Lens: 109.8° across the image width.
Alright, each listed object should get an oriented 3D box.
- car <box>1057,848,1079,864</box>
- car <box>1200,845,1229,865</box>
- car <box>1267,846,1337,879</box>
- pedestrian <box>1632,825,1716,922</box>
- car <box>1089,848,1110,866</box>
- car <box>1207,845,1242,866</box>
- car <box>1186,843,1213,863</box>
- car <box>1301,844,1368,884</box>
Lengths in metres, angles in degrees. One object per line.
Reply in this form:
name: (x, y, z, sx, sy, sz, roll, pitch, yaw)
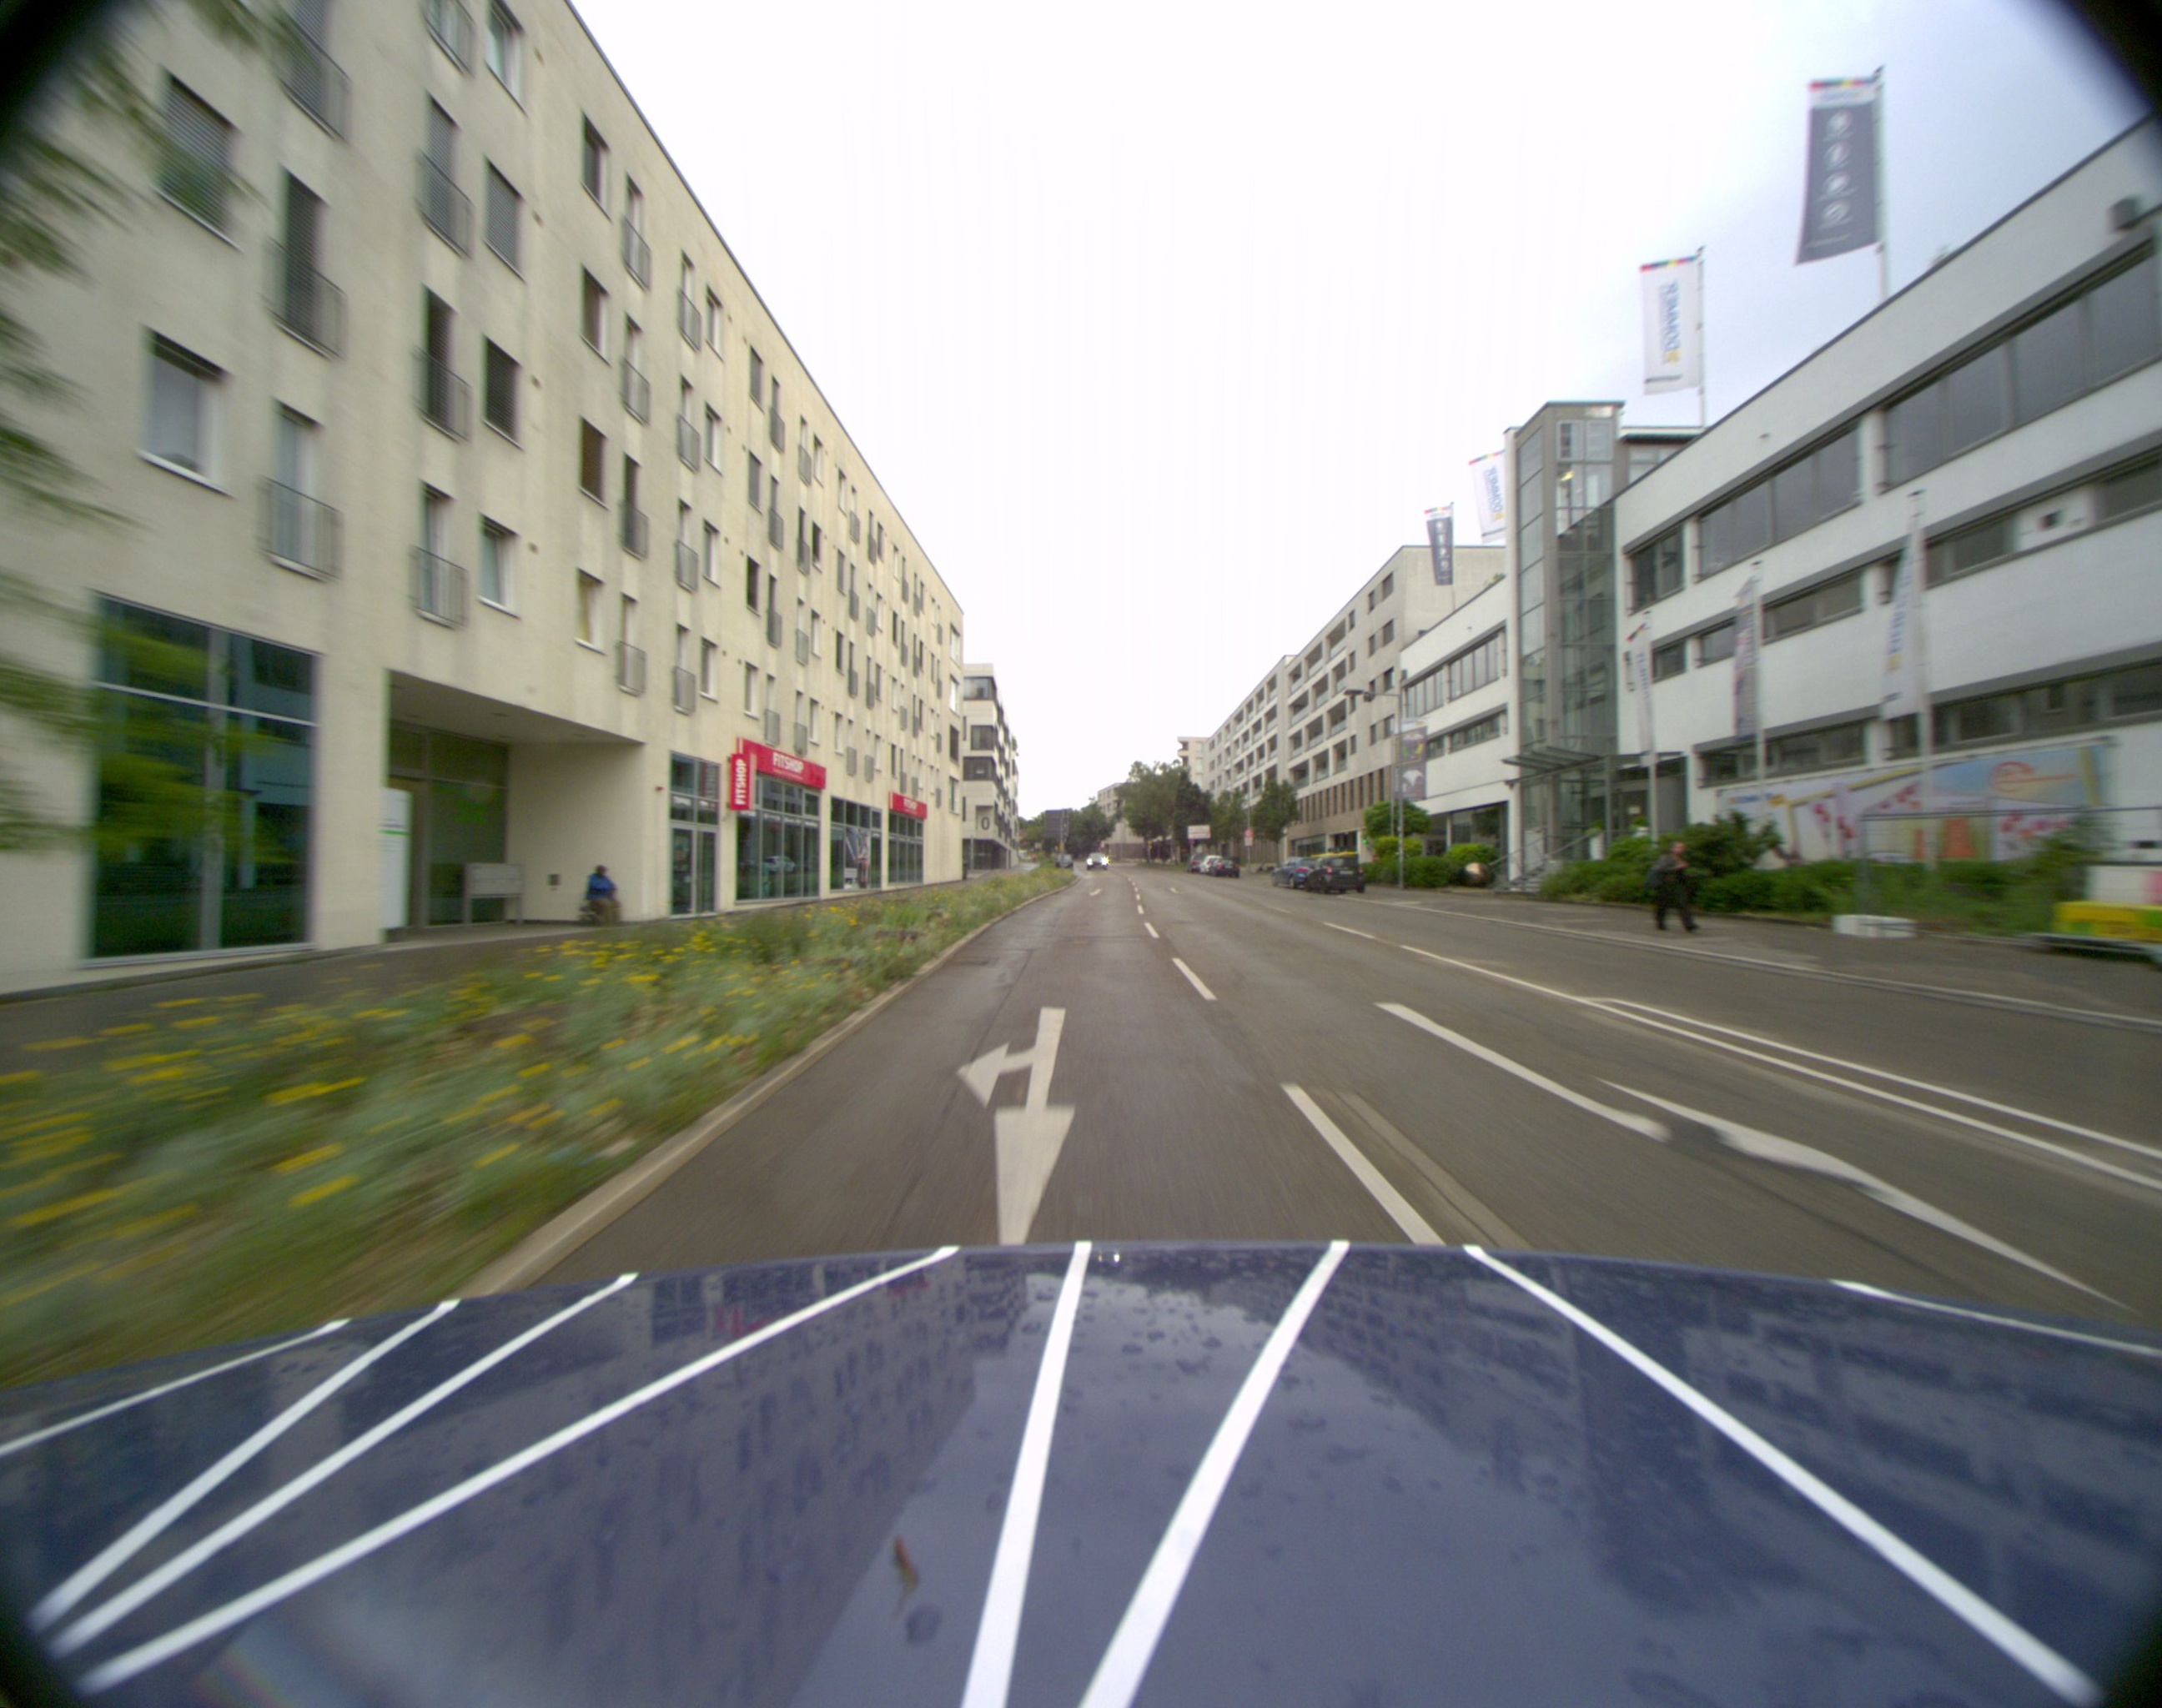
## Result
car: (-1.389, 0.168, 80.342, 1.998, 1.477, 4.000, -2, 1, 3)
car: (10.385, 0.050, 59.349, 1.597, 1.460, 3.421, 2, 1, -1)
car: (10.074, 0.351, 35.009, 1.661, 1.395, 4.267, 1, 1, -4)
pedestrian: (10.804, 0.336, 13.867, 0.769, 1.667, 0.968, -2, 2, 2)
car: (1.863, 0.297, 75.625, 1.998, 1.565, 4.000, -2, 1, 3)
car: (10.314, 0.109, 54.773, 1.662, 1.383, 3.738, 1, 1, -1)
car: (10.055, -0.116, 64.487, 1.630, 1.609, 3.972, 2, 1, 0)
car: (10.289, 0.353, 31.006, 1.519, 1.501, 2.980, 1, 1, -4)
